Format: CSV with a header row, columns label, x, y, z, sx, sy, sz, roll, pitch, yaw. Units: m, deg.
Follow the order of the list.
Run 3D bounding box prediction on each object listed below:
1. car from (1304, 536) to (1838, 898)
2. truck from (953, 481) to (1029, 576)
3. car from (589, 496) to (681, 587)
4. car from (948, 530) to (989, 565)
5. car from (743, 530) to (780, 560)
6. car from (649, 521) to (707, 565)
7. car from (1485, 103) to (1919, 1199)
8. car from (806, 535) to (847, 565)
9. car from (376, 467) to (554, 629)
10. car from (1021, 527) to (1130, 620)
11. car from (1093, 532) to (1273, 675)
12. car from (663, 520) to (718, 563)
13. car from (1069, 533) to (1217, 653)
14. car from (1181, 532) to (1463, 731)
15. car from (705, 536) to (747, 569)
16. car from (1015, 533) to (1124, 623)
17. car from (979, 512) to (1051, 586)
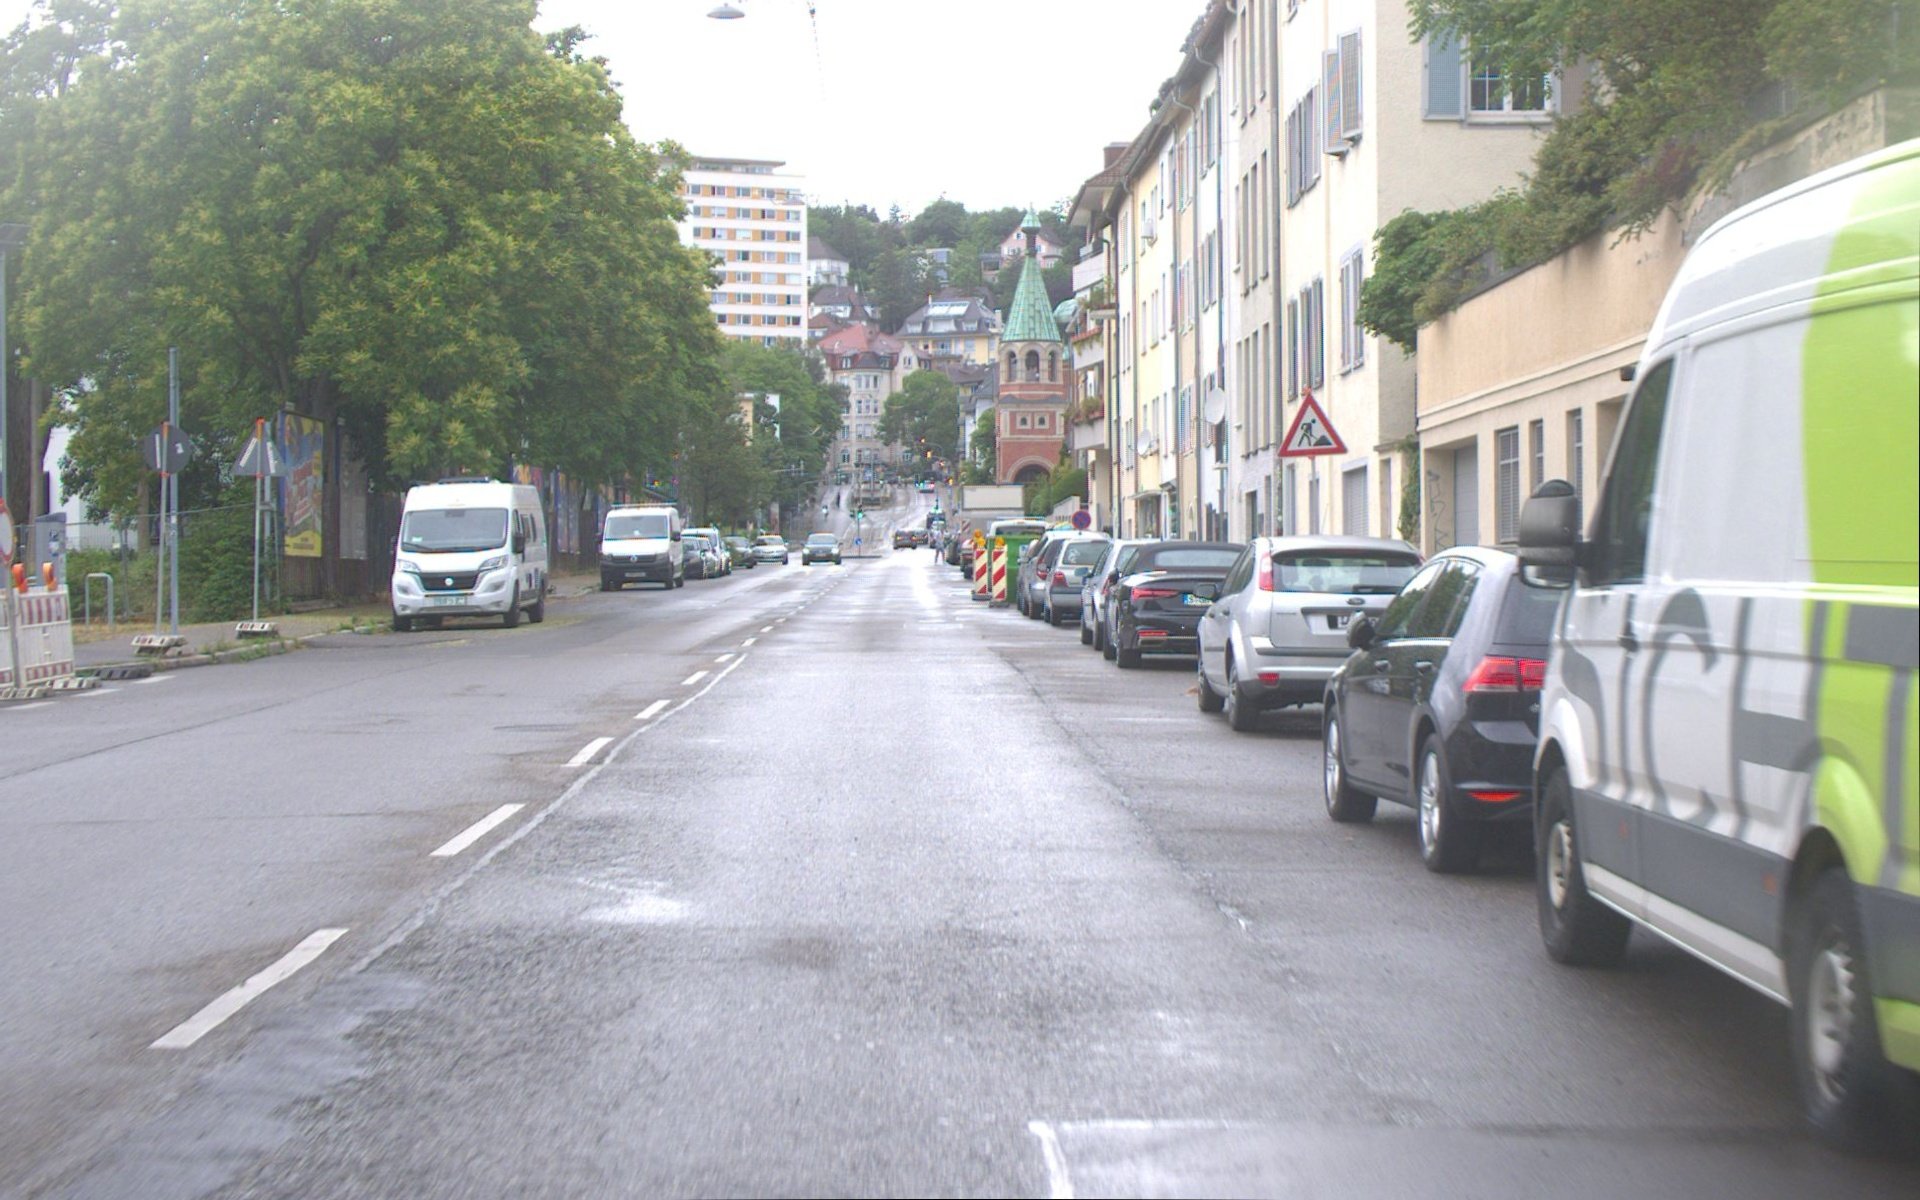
label,x,y,z,sx,sy,sz,roll,pitch,yaw
car,2.786,0.456,16.608,1.688,1.449,4.236,1,2,-2
truck,1.017,-2.448,118.069,2.469,3.161,7.036,0,1,0
car,-9.240,-1.696,98.059,2.012,2.478,5.984,-1,1,0
car,0.386,-2.518,164.137,1.817,1.647,4.076,1,1,-1
car,-9.787,-2.695,169.655,1.709,1.445,4.295,-1,1,-2
car,-9.273,-1.868,113.142,1.682,1.394,3.911,-1,1,-2
car,3.150,0.094,9.994,2.205,2.455,6.080,1,2,-1
car,-6.330,-2.383,163.099,1.805,1.411,4.384,0,1,-4
car,-8.450,-0.933,59.291,2.230,2.570,6.538,-2,1,-2
car,1.902,-0.470,57.366,1.558,1.449,3.760,1,2,-2
car,2.427,0.000,38.205,1.629,1.449,3.760,1,2,-2
car,-9.429,-2.029,120.478,1.682,1.457,4.277,-1,1,-2
car,2.369,-0.120,45.286,1.629,1.449,3.760,1,2,-2
car,2.824,0.257,27.653,1.688,1.449,4.235,1,-1,-2
car,-10.473,-2.131,154.169,1.803,1.445,4.658,-1,1,-3
car,1.970,-0.423,62.827,1.716,1.519,4.001,1,2,-2
car,1.462,-1.378,92.193,1.817,1.917,4.239,-1,1,0
